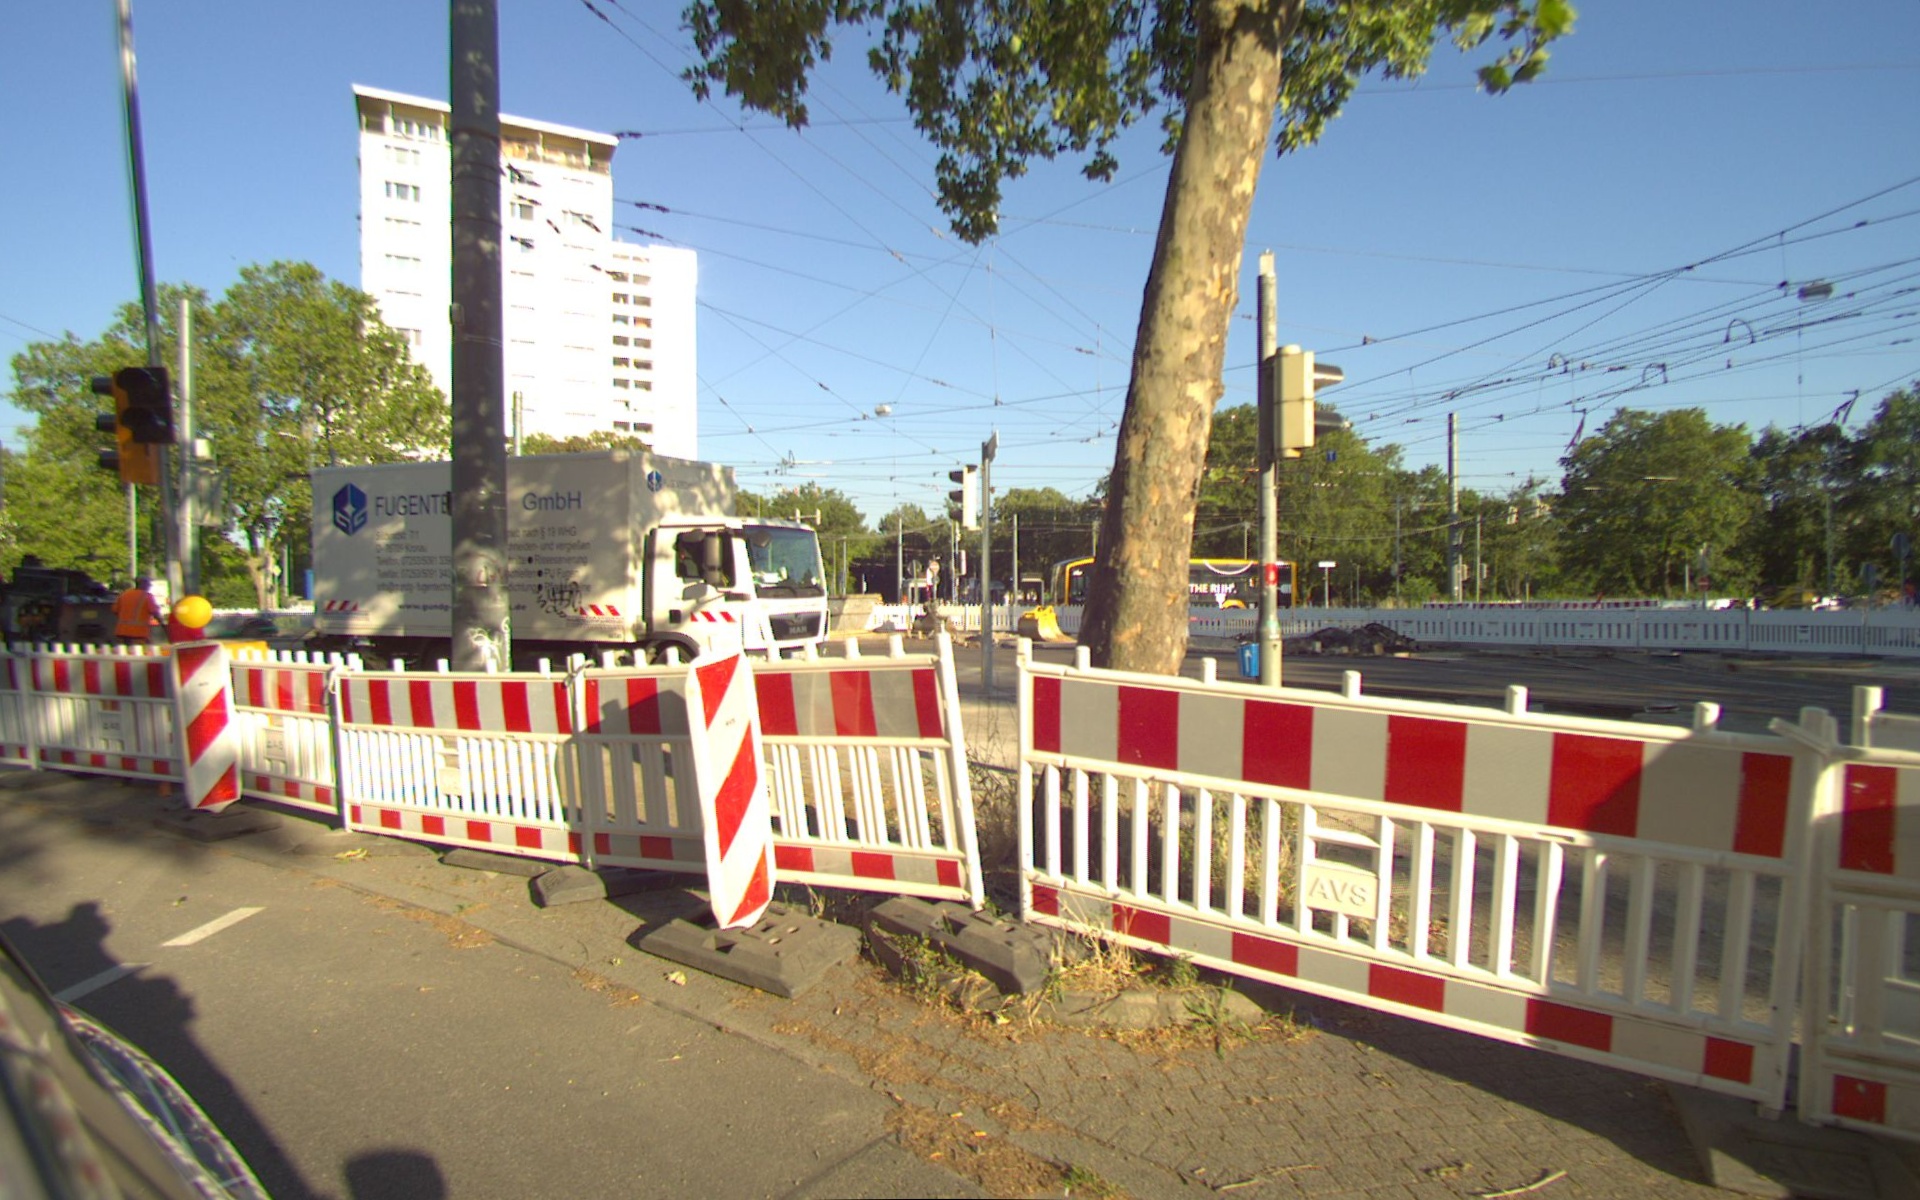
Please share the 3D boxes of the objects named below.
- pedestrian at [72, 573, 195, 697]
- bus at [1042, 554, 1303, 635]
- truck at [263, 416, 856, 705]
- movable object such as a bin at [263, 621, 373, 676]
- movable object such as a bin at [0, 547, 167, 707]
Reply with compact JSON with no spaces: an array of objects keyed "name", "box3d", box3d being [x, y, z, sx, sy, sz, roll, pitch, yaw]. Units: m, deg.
[{"name":"pedestrian","box3d":[-12.472,0.514,15.293,1.058,1.811,0.972,-1,0,11]},{"name":"bus","box3d":[10.317,-0.301,49.474,12.103,3.751,3.094,0,0,-10]},{"name":"truck","box3d":[-6.220,-0.444,15.460,8.919,3.568,2.801,-1,0,22]},{"name":"movable object such as a bin","box3d":[-11.470,0.860,18.121,1.398,0.924,0.936,-1,0,-3]},{"name":"movable object such as a bin","box3d":[-15.494,0.388,16.220,5.171,2.273,1.986,-1,1,21]}]
